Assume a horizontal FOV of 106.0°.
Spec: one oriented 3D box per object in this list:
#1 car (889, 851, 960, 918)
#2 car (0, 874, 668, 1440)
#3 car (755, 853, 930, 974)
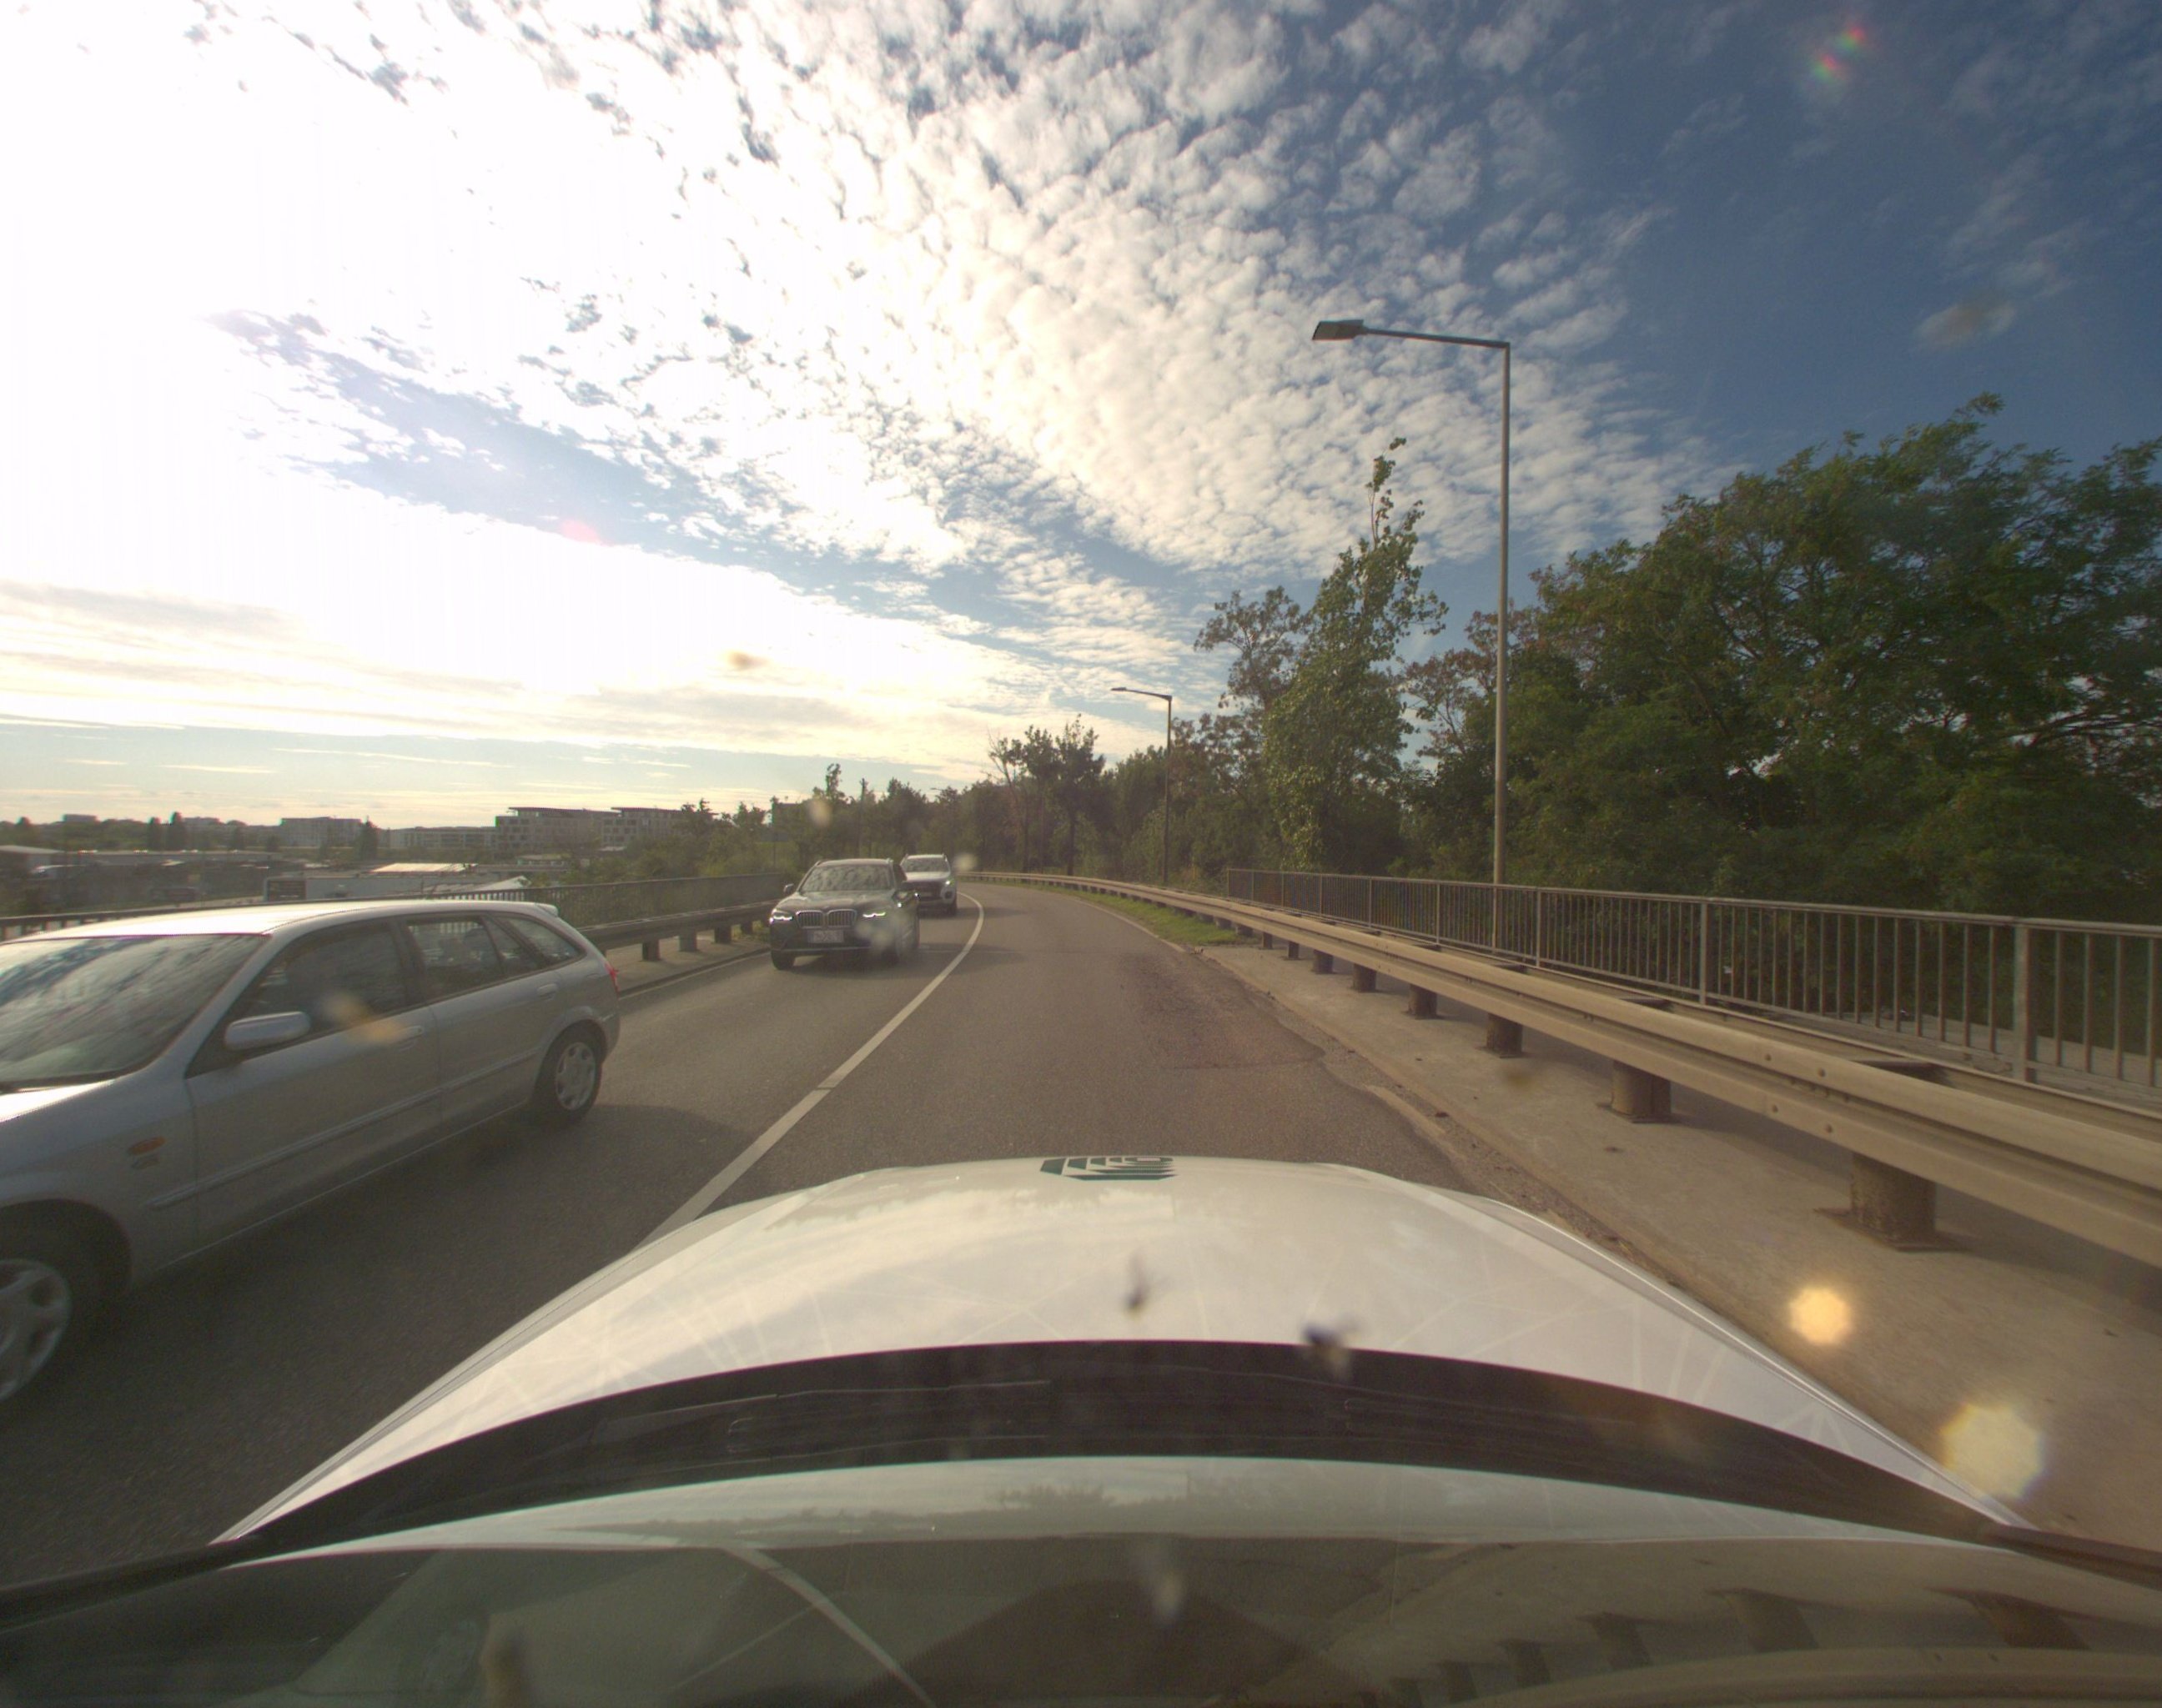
[{"bbox_3d":[-4.748,0.879,25.335,1.900,1.810,5.388,-1,-1,-8],"label":"car"},{"bbox_3d":[-3.787,0.883,3.572,1.726,1.455,4.264,-2,0,0],"label":"car"},{"bbox_3d":[-3.800,0.854,13.852,1.886,1.649,4.634,-2,0,-5],"label":"car"}]
